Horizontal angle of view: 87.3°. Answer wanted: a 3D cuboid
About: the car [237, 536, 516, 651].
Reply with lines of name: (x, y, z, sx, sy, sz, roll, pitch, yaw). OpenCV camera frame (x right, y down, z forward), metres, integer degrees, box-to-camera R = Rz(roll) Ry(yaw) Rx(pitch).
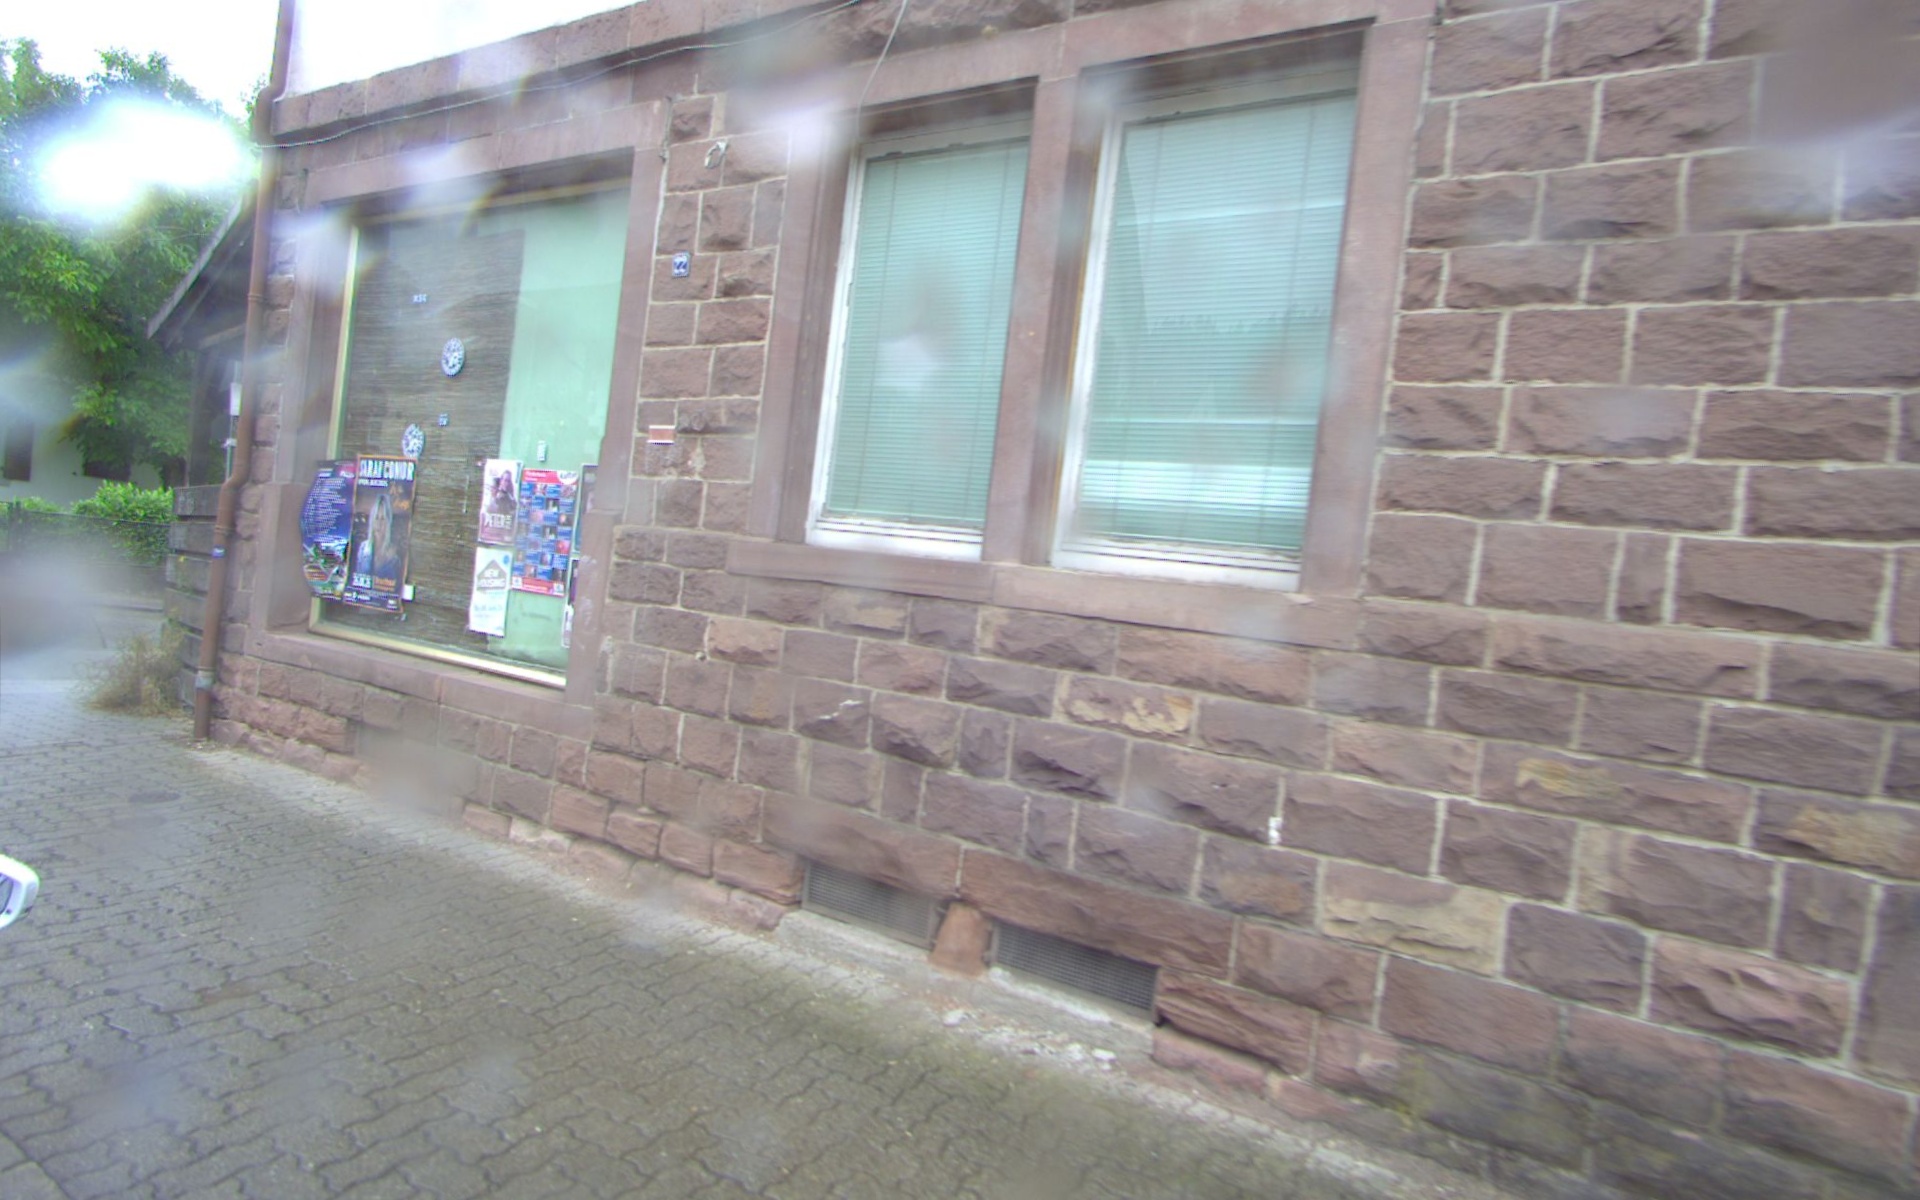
car: (-10.501, -0.079, 18.288, 3.979, 1.483, 1.762, 10, -3, -44)
